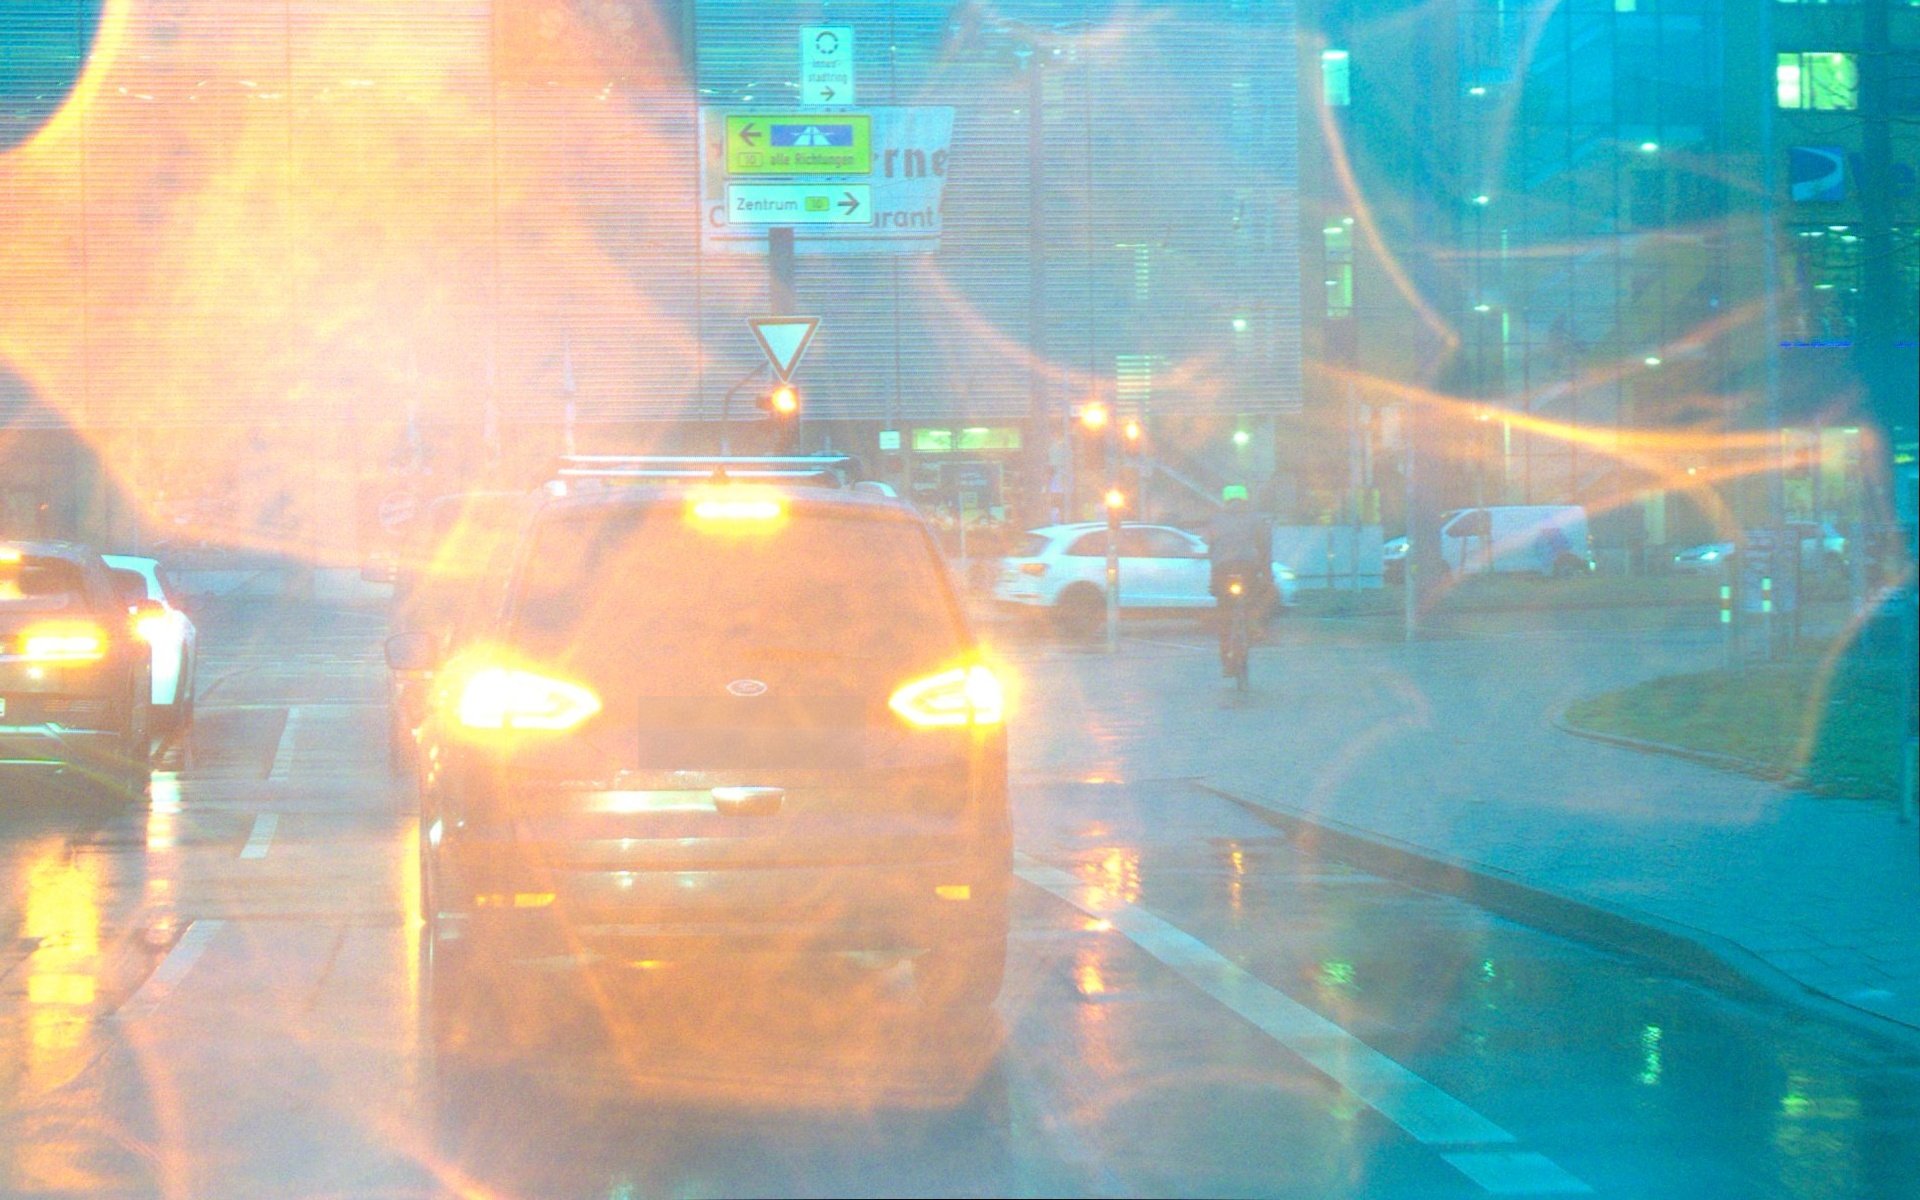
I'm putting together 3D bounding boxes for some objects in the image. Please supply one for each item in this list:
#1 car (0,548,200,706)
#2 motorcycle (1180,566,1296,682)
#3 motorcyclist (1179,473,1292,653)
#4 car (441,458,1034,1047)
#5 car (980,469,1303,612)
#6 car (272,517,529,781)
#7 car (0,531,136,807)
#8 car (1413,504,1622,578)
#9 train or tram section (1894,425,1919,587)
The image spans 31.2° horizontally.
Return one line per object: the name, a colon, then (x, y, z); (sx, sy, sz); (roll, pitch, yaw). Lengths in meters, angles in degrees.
car: (-7.399, 0.194, 29.620); (1.540, 1.247, 4.069); (-1, 1, -14)
motorcycle: (2.411, 0.197, 29.998); (0.852, 0.968, 1.581); (-1, 1, -1)
motorcyclist: (2.394, -0.323, 30.003); (0.868, 1.529, 1.108); (-1, 1, -1)
car: (-0.972, 0.430, 12.374); (1.734, 1.732, 4.248); (1, 1, -9)
car: (2.722, -0.892, 51.615); (4.354, 2.007, 2.001); (1, 1, -22)
car: (-3.953, 0.298, 24.027); (1.635, 1.691, 3.672); (0, 0, -11)
car: (-6.196, 0.381, 21.570); (1.752, 1.568, 4.001); (-1, 1, -10)
car: (12.880, -1.355, 79.461); (4.418, 1.590, 1.800); (1, 0, -18)
train or tram section: (27.147, -2.065, 71.652); (16.601, 3.249, 2.337); (-1, 1, -21)
